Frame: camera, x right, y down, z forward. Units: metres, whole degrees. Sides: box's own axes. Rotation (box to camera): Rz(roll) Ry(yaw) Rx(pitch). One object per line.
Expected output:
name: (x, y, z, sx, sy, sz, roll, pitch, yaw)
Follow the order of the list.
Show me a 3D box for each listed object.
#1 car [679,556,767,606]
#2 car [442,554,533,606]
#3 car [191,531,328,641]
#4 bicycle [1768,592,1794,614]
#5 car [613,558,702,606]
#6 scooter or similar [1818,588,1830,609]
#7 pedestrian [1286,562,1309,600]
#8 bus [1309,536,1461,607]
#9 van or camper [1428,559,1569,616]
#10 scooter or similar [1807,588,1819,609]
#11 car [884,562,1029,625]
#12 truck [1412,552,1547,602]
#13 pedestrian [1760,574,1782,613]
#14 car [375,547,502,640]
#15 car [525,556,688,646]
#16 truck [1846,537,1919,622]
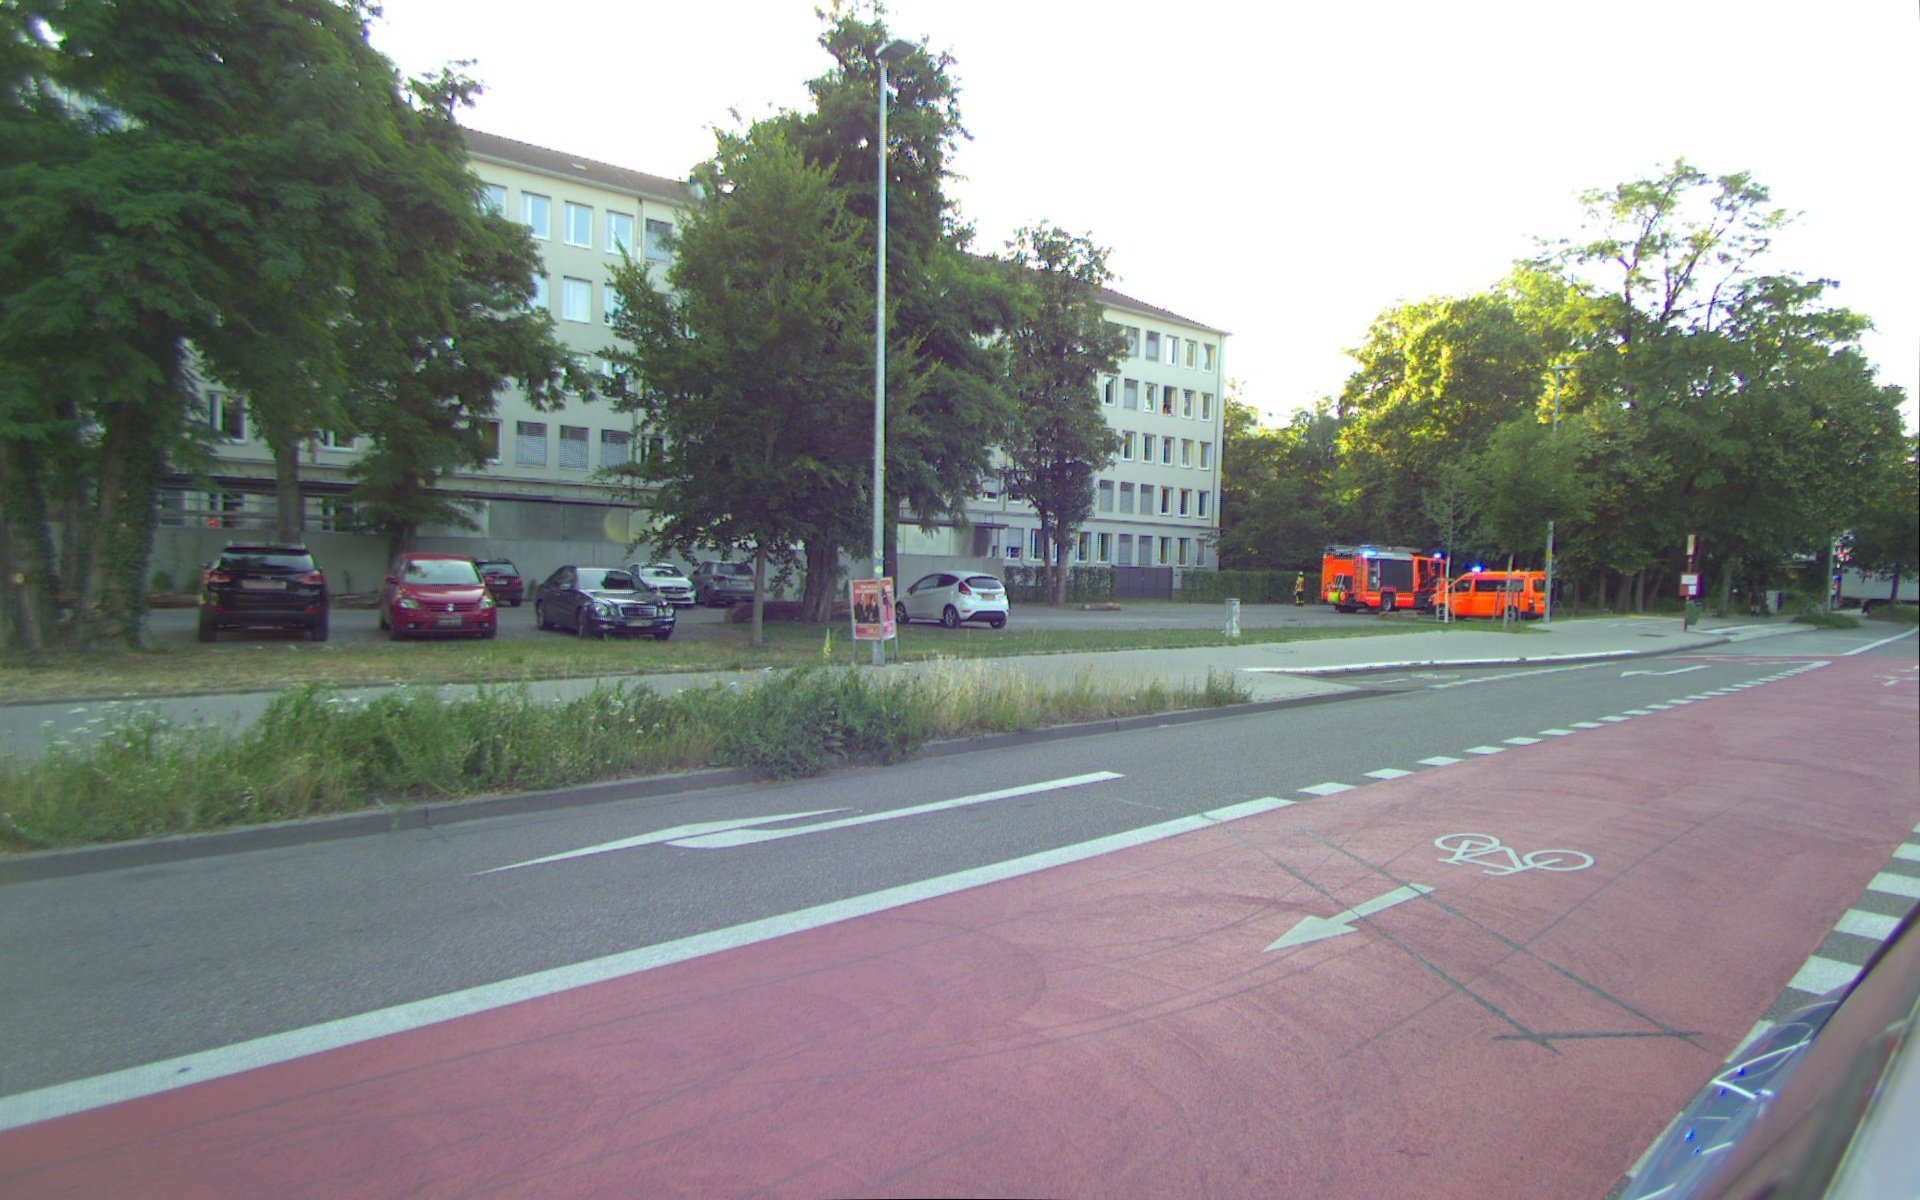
car: (-8.351, -0.689, 35.429, 1.875, 1.636, 4.004, -1, 2, -32)
car: (-14.460, -0.628, 30.877, 1.866, 1.460, 4.001, 0, 2, -35)
car: (-12.396, -0.279, 17.897, 1.802, 1.715, 3.910, 0, 1, -36)
bicycle: (43.495, 0.158, 53.620, 0.827, 1.111, 1.946, 3, 2, 33)
car: (-10.140, -0.624, 33.733, 1.798, 1.494, 4.002, 0, 1, -33)
scooter or similar: (54.818, -0.080, 64.208, 0.482, 1.297, 1.123, 5, 3, 41)
pedestrian: (18.558, -1.058, 55.650, 0.810, 2.038, 0.774, 1, 2, -32)
bus: (20.897, -1.348, 49.594, 7.810, 3.236, 2.999, 0, 1, -34)
van or camper: (22.999, -0.564, 43.390, 2.251, 2.272, 4.831, 0, 1, -34)
scooter or similar: (53.258, -0.094, 63.152, 0.482, 1.297, 1.213, 5, 3, 40)
car: (-0.177, -0.222, 27.042, 1.876, 1.556, 3.999, 0, 2, -37)
truck: (36.664, -1.720, 71.864, 2.703, 3.250, 8.683, 1, 2, -24)
pedestrian: (43.281, -0.362, 54.005, 0.718, 2.038, 0.689, 2, 2, 26)
car: (-10.152, -0.194, 19.555, 1.751, 1.580, 4.003, 0, 2, -34)
car: (-7.443, -0.084, 21.015, 1.866, 1.465, 4.584, -2, 6, -37)
truck: (68.418, -1.216, 66.133, 5.065, 5.642, 15.078, 0, 2, -38)
